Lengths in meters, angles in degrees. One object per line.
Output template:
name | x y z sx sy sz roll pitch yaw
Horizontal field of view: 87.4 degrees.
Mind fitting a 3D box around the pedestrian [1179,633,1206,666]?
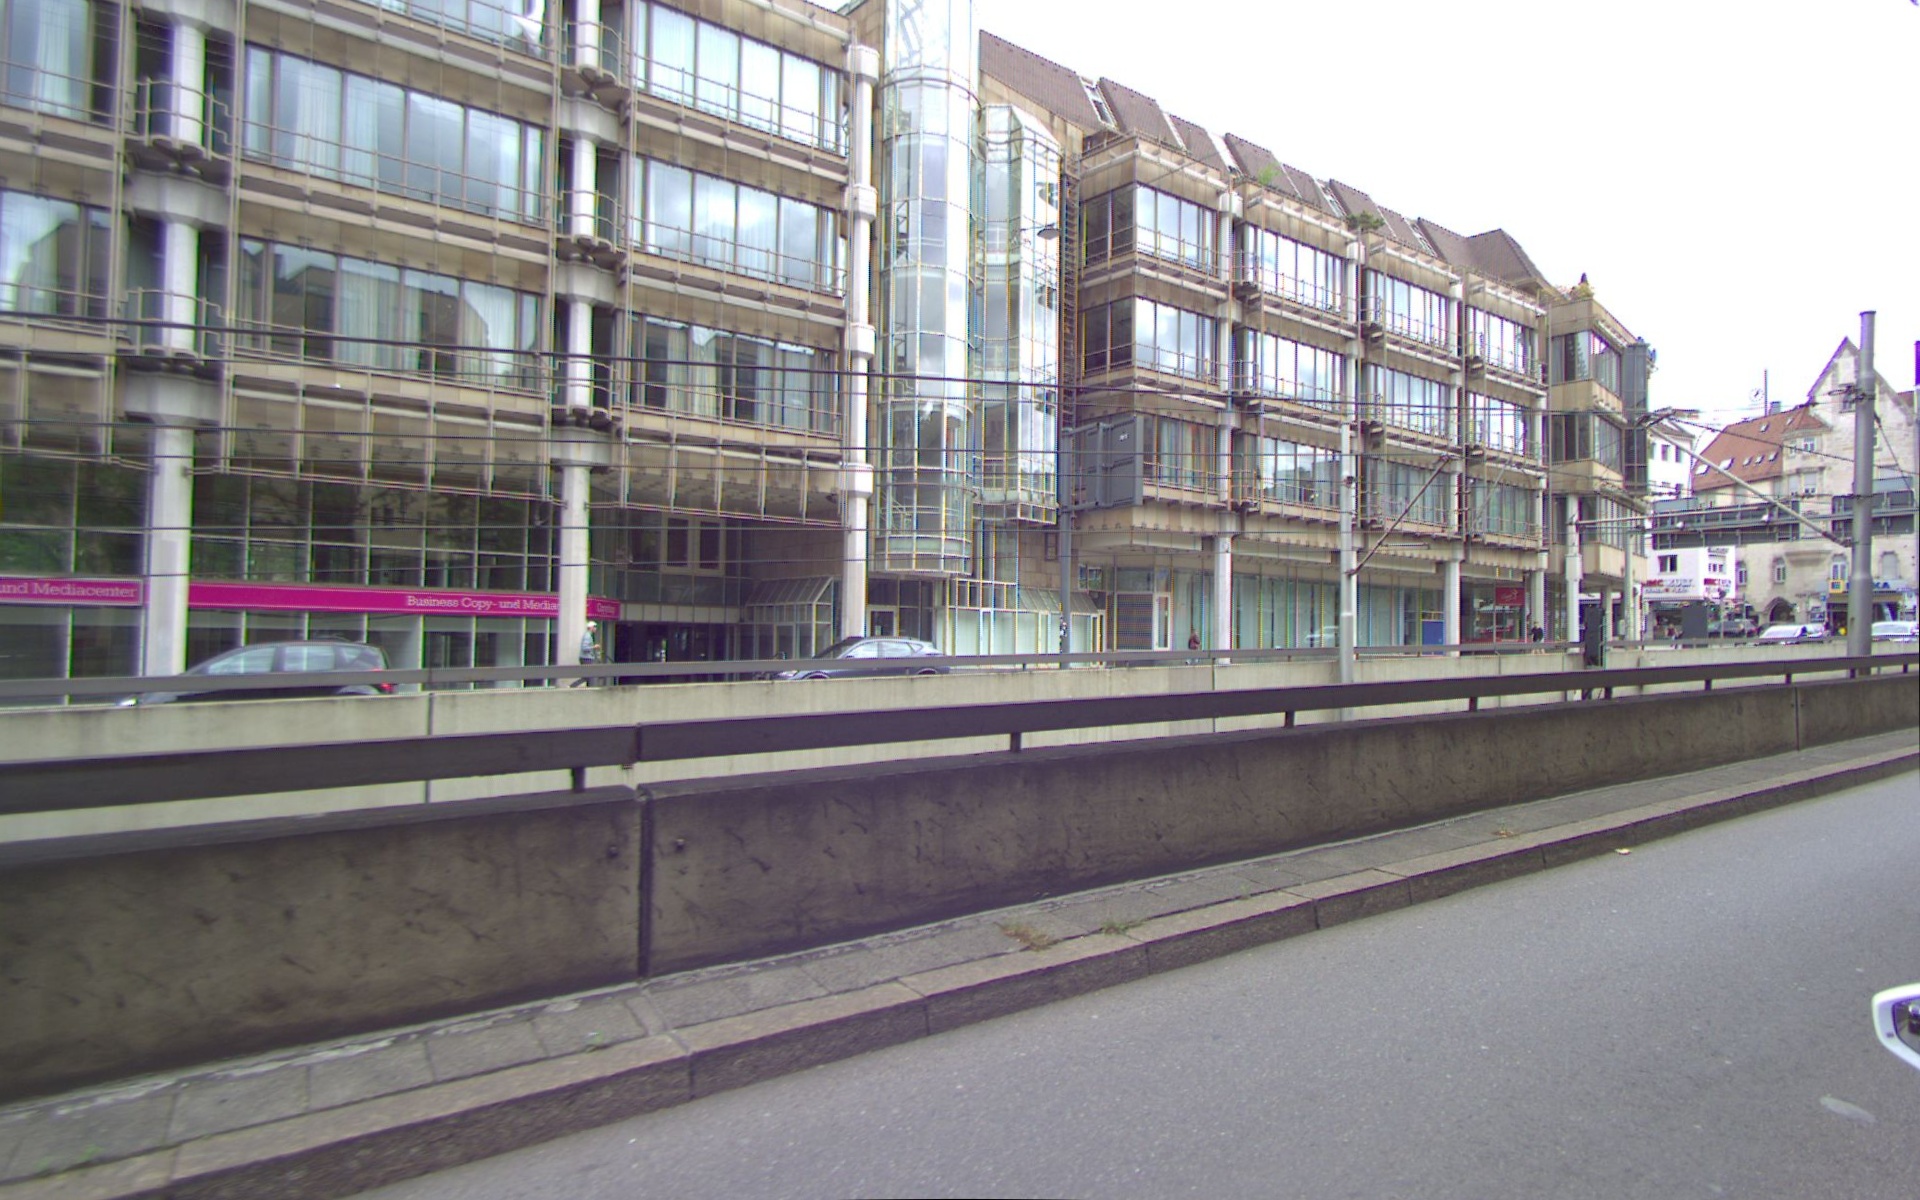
pedestrian | 9.118 1.931 39.409 0.731 1.282 0.726 1 0 -32

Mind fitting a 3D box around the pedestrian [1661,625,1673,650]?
pedestrian | 50.142 2.657 71.229 0.569 1.803 0.508 1 -1 -24

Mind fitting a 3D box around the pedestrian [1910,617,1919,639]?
pedestrian | 75.308 2.166 78.898 0.643 1.728 0.781 0 -1 -21

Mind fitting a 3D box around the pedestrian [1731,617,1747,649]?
pedestrian | 44.230 1.866 57.003 0.569 1.803 0.508 1 -1 -24

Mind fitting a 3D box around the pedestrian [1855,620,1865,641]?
pedestrian | 76.578 2.593 85.440 0.507 1.803 0.570 1 -1 -40

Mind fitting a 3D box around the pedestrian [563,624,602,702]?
pedestrian | -9.022 1.490 23.976 0.731 1.816 0.726 1 0 -32

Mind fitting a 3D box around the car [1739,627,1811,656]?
car | 43.685 2.187 53.819 4.363 1.521 1.655 1 -2 -32

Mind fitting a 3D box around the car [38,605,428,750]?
car | -11.213 1.116 15.927 4.741 1.989 1.981 1 -2 -34

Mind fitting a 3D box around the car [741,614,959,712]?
car | -2.392 1.342 22.141 4.332 1.939 1.982 2 -1 -33

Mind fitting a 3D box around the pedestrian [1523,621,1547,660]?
pedestrian | 27.666 1.935 48.338 0.731 1.835 0.726 1 0 -32

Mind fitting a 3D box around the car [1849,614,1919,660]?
car | 41.772 1.651 45.064 4.560 1.867 1.821 1 2 -36

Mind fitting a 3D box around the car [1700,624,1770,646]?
car | 56.224 2.533 72.942 3.981 1.521 1.662 -1 -2 39
